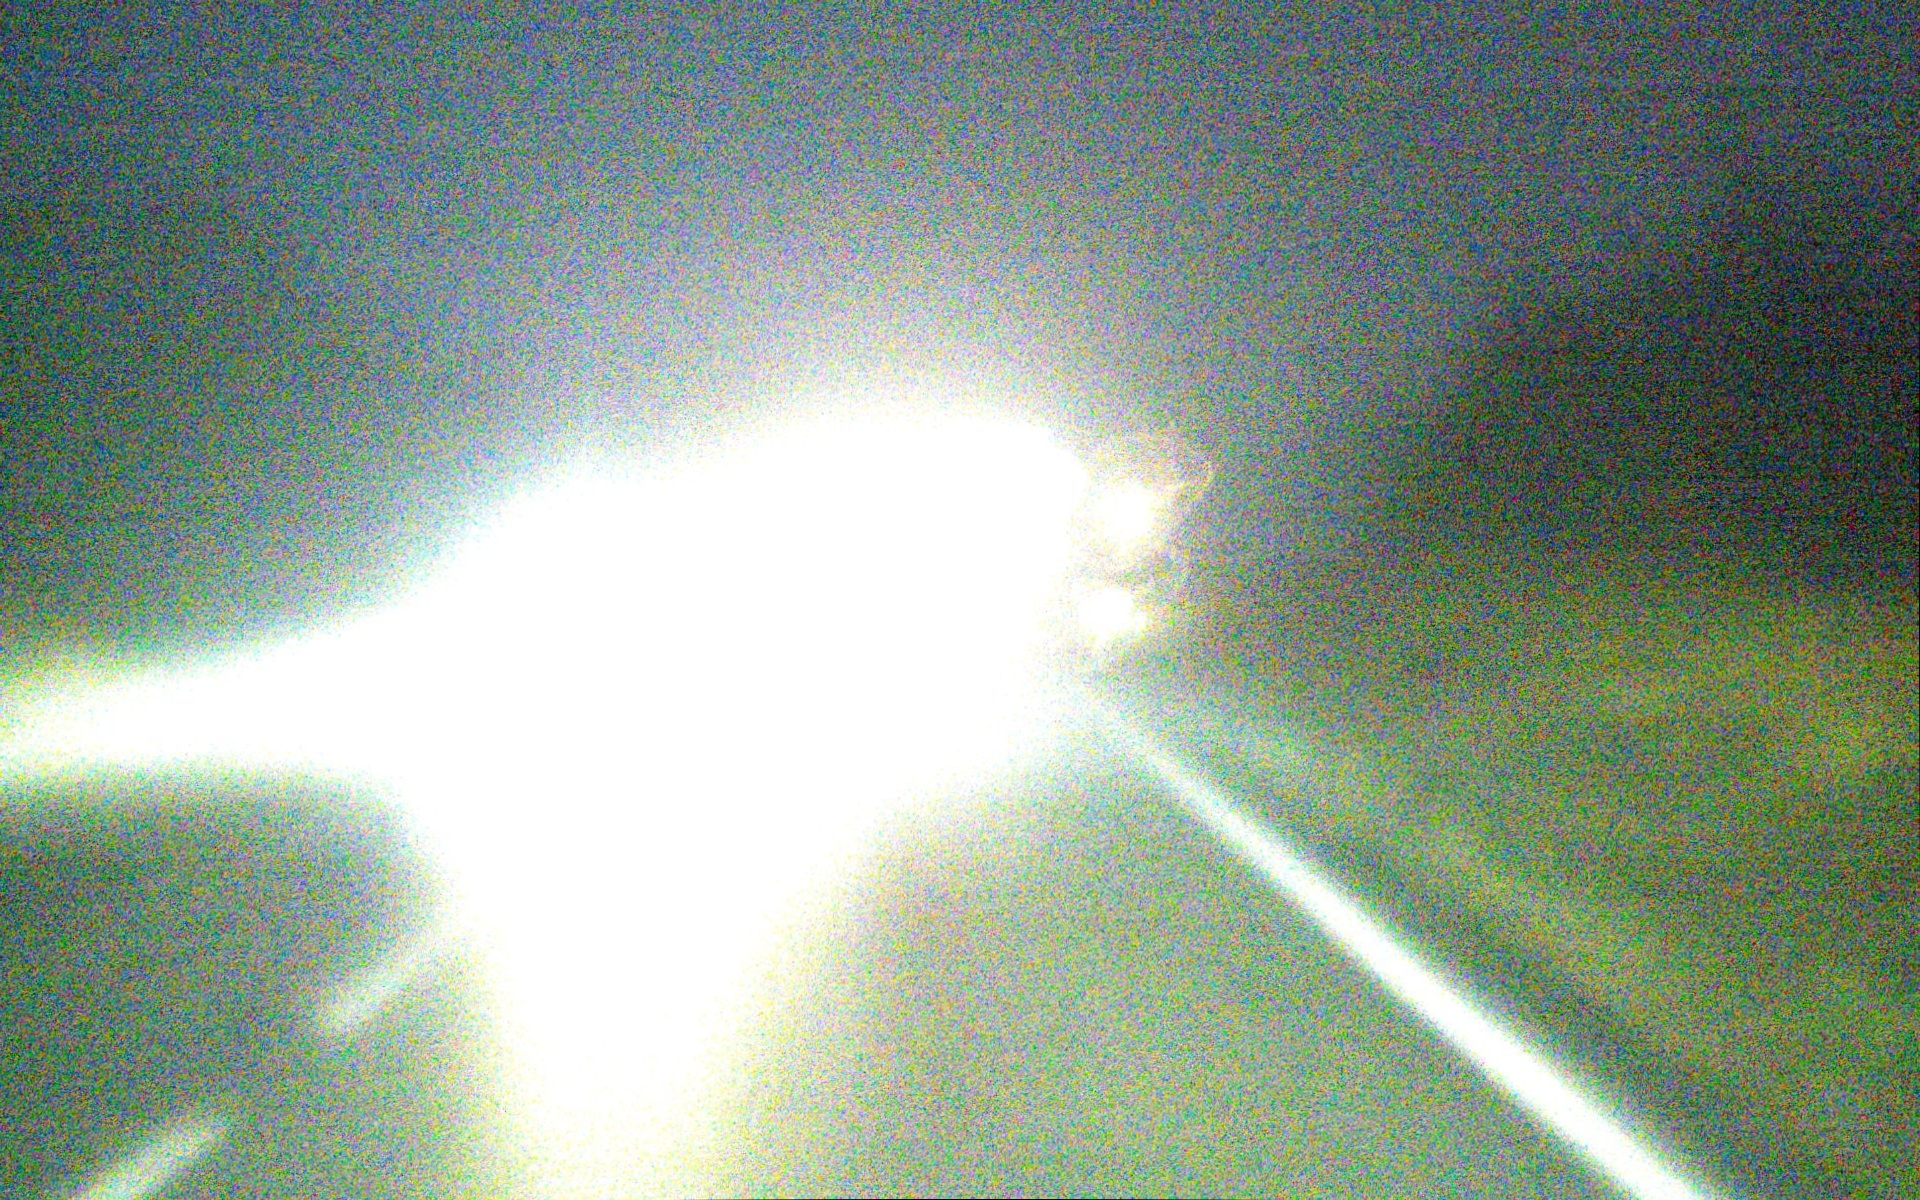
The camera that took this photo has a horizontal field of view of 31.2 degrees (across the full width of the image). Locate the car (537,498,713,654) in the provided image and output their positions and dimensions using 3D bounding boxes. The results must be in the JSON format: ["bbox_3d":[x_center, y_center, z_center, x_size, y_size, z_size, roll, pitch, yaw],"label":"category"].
[{"bbox_3d":[-4.566,-0.335,47.385,1.993,2.007,4.000,1,0,0],"label":"car"}]

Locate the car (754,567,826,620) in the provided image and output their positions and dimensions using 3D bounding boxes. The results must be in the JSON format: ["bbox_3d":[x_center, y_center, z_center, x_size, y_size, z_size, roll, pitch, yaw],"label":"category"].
[{"bbox_3d":[-5.214,-0.203,105.803,1.993,1.543,4.000,1,1,0],"label":"car"}]

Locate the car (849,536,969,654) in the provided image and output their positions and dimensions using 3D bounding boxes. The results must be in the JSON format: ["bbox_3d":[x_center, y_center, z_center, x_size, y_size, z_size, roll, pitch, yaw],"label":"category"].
[{"bbox_3d":[-0.876,-0.123,56.904,1.842,1.734,4.001,2,2,-2],"label":"car"}]
